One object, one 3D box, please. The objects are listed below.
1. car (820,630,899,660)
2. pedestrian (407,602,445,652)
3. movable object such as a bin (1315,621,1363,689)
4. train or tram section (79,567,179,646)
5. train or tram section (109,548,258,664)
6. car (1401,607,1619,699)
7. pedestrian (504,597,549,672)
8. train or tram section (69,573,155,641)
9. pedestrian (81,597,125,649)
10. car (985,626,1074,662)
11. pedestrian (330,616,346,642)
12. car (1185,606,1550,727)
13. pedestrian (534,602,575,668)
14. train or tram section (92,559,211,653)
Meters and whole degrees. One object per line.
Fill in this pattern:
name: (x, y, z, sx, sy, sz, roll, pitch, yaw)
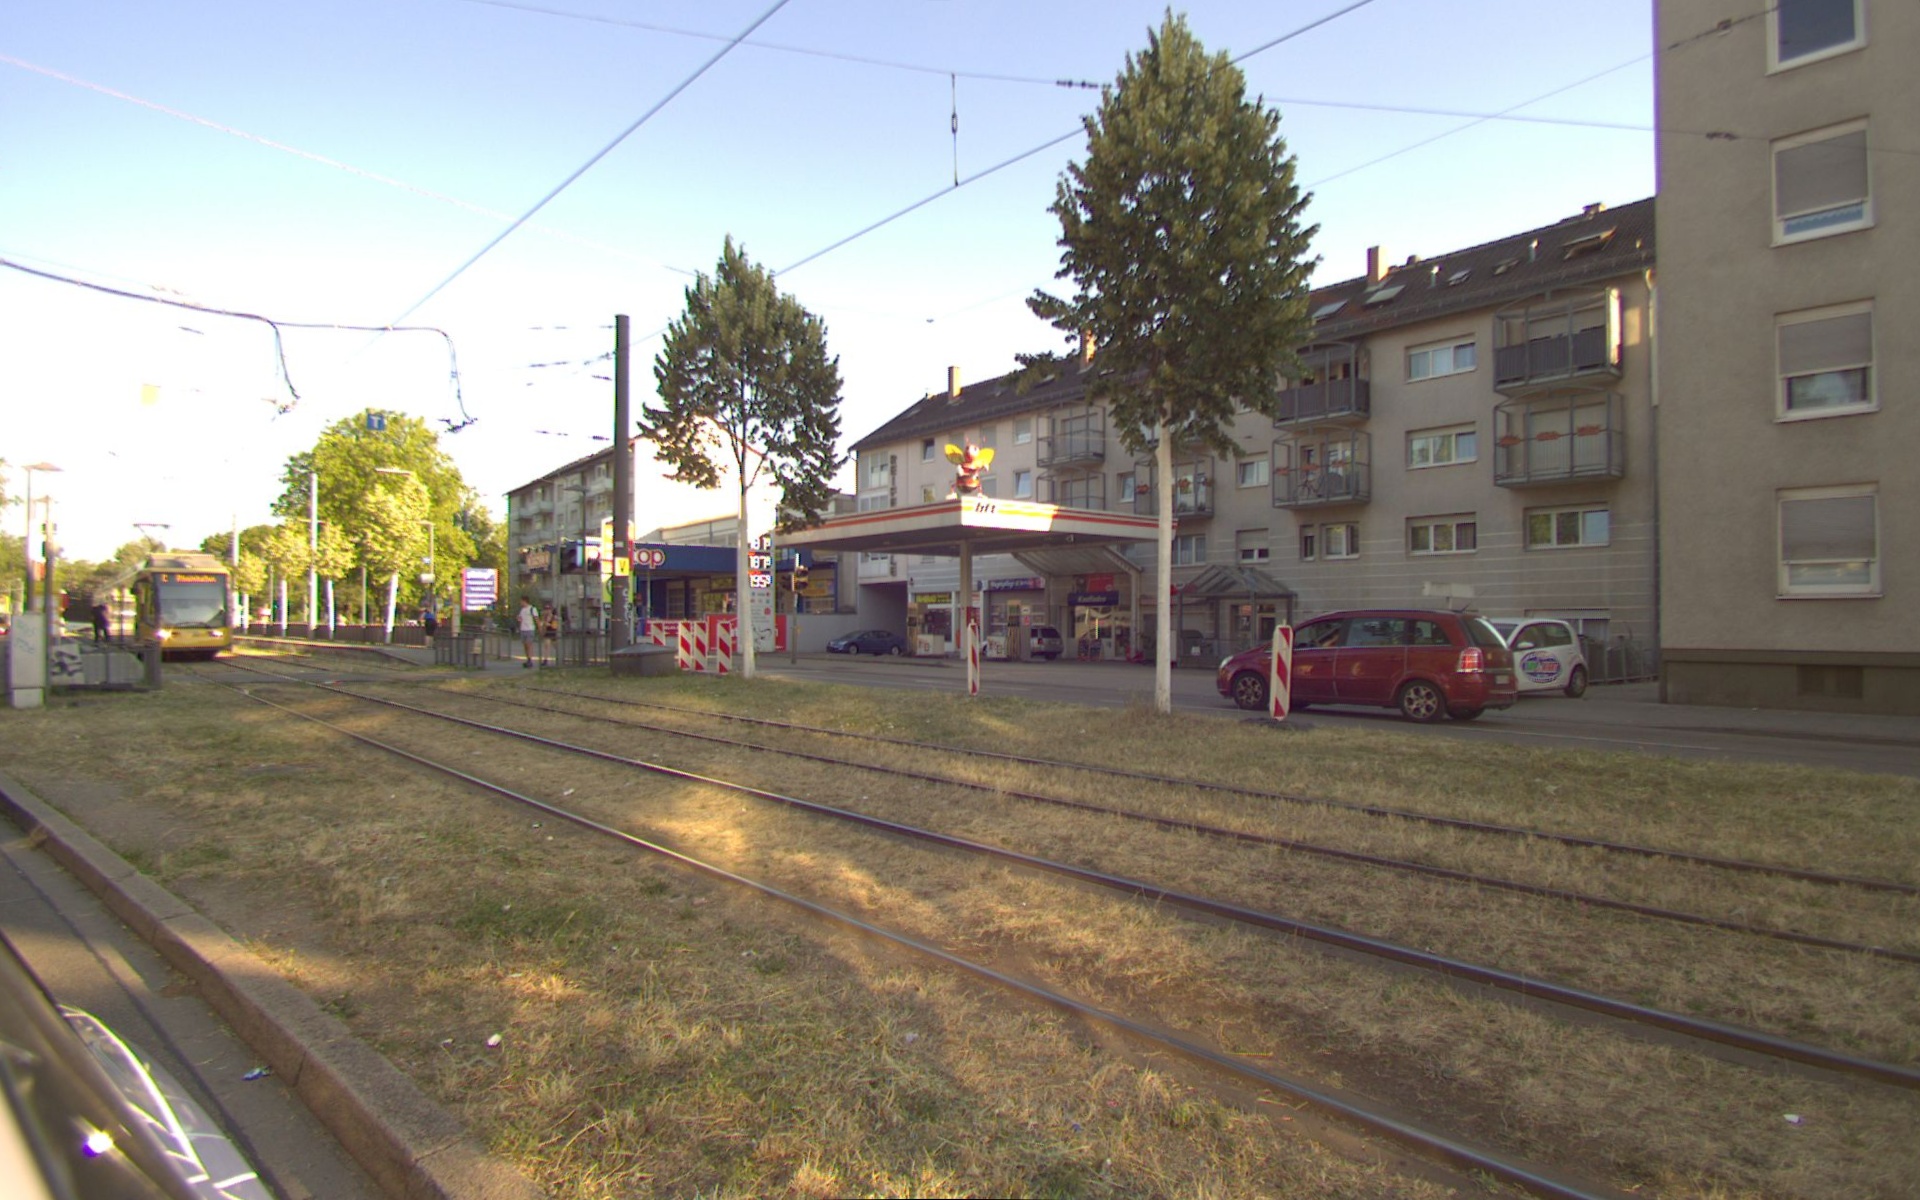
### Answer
car: (-5.229, 2.329, 53.045, 3.747, 1.535, 1.821, 1, -2, -40)
pedestrian: (-18.479, 0.935, 35.036, 0.923, 1.666, 0.927, -2, 0, -43)
movable object such as a bin: (8.044, 1.163, 21.492, 0.655, 1.411, 0.749, 2, -2, -44)
train or tram section: (-41.445, 0.379, 50.298, 2.999, 3.544, 10.106, 3, -2, -43)
train or tram section: (-27.520, 0.271, 35.619, 2.999, 3.544, 10.106, 3, -2, -43)
car: (10.123, 0.954, 18.602, 3.763, 1.523, 1.823, 2, -2, -30)
pedestrian: (-11.359, 0.899, 26.545, 0.756, 1.947, 0.848, -1, -2, 45)
train or tram section: (-48.397, 0.421, 57.646, 2.999, 3.544, 10.106, 3, -2, -43)
pedestrian: (-26.363, 0.700, 31.146, 0.788, 1.562, 0.906, -1, -1, 39)
car: (3.058, 1.935, 45.222, 1.789, 1.535, 3.834, 2, -2, -41)
pedestrian: (-45.425, 2.102, 73.937, 0.744, 1.896, 1.001, -2, 1, -44)
car: (6.065, 0.904, 15.594, 1.790, 1.572, 4.940, 2, -2, -43)
pedestrian: (-11.031, 0.952, 27.540, 0.861, 1.760, 0.744, -1, -2, 44)
train or tram section: (-34.466, 0.323, 42.960, 2.999, 3.544, 10.106, 3, -2, -43)
